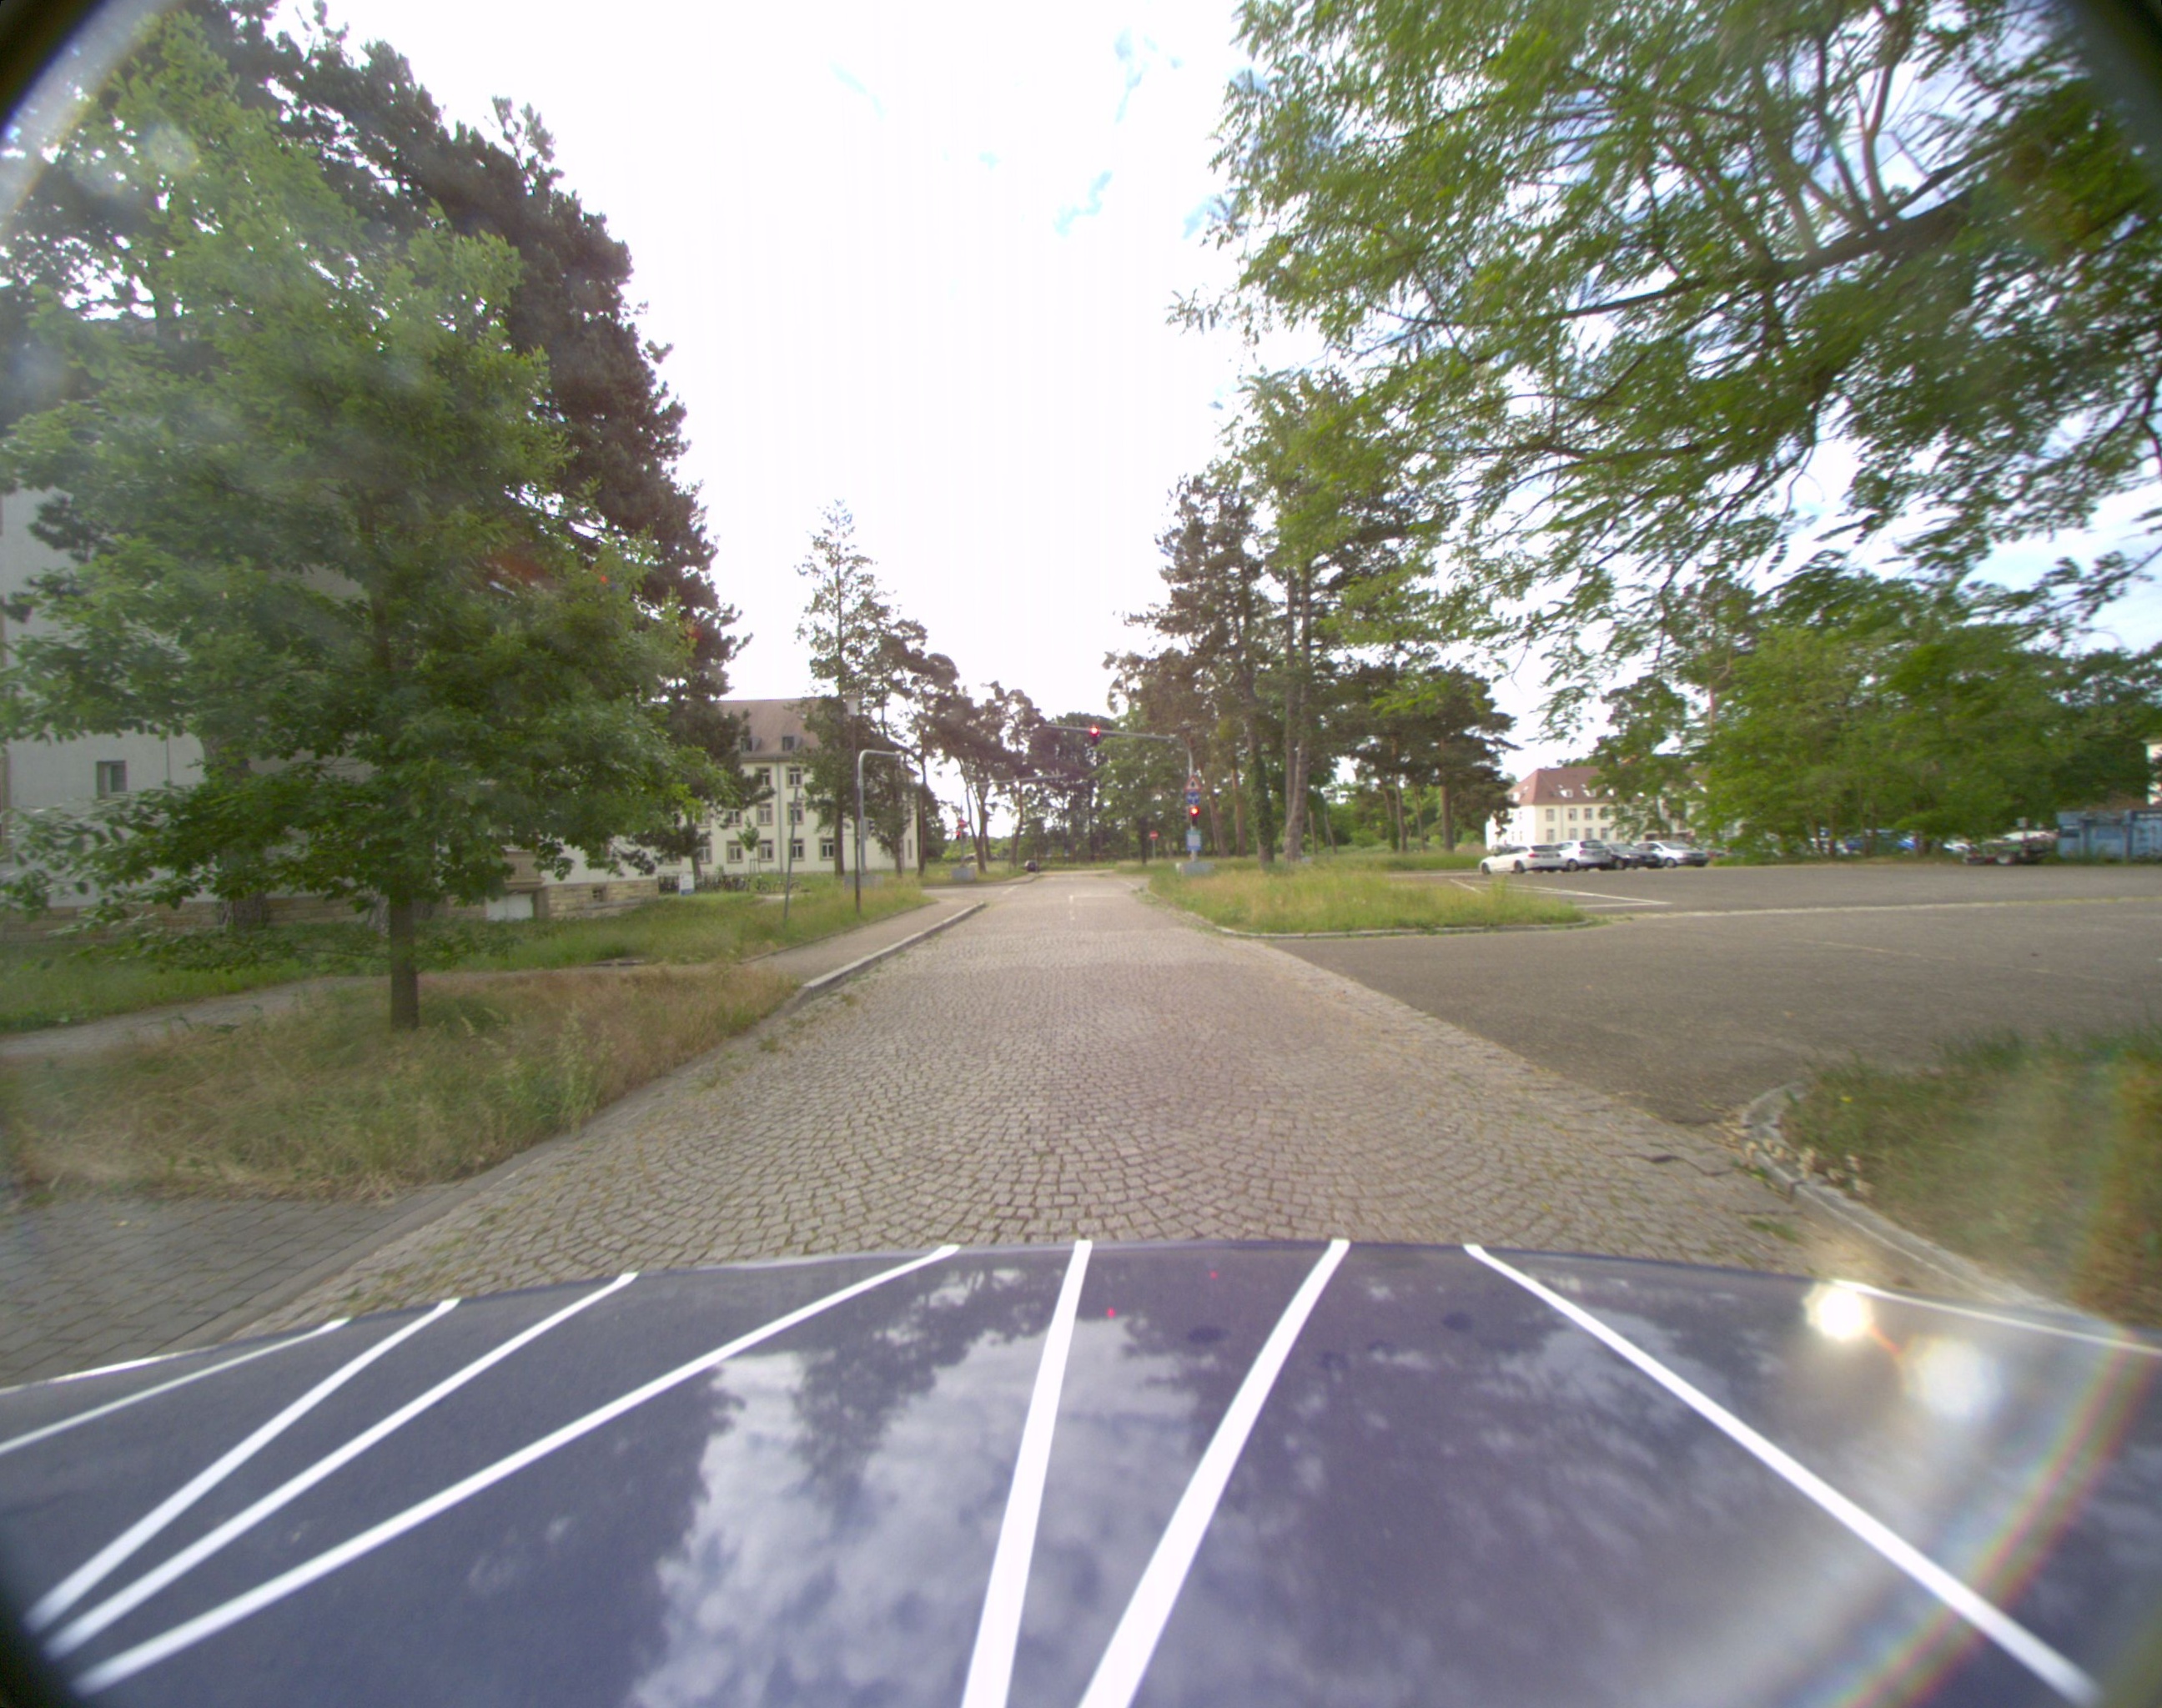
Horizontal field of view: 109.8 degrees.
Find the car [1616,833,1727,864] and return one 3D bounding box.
[{"bbox_3d":[29.865,-0.254,38.650,1.999,1.441,4.451,-2,0,-4],"label":"car"}]

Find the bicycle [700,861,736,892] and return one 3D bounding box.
[{"bbox_3d":[-21.437,1.297,44.906,0.905,1.722,2.199,-2,0,2],"label":"bicycle"}]

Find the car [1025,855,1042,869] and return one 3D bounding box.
[{"bbox_3d":[-6.381,1.042,100.887,2.000,1.777,3.997,-2,0,-6],"label":"car"}]

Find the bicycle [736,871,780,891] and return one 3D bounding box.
[{"bbox_3d":[-18.512,1.545,43.520,2.165,1.051,0.717,-2,1,-4],"label":"bicycle"}]

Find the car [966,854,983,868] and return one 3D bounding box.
[{"bbox_3d":[-13.986,0.930,99.757,2.000,1.777,3.997,-2,0,-6],"label":"car"}]

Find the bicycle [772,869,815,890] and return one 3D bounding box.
[{"bbox_3d":[-16.430,1.447,43.482,2.165,1.088,0.717,-2,1,-4],"label":"bicycle"}]

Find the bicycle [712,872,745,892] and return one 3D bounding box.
[{"bbox_3d":[-20.662,1.609,44.582,0.800,1.051,2.199,-2,0,2],"label":"bicycle"}]

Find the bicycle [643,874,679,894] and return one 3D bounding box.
[{"bbox_3d":[-24.699,1.763,44.760,0.800,1.051,2.166,-2,0,2],"label":"bicycle"}]

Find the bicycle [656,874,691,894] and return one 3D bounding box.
[{"bbox_3d":[-23.946,1.736,44.673,0.800,1.051,2.166,-2,0,2],"label":"bicycle"}]

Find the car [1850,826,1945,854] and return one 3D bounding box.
[{"bbox_3d":[52.011,-0.868,48.499,1.749,1.674,3.803,-2,0,-5],"label":"car"}]

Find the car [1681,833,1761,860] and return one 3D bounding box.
[{"bbox_3d":[41.326,-0.469,49.199,1.749,1.674,3.803,-2,0,-5],"label":"car"}]

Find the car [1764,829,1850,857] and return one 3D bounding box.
[{"bbox_3d":[46.890,-0.682,49.167,1.749,1.674,3.803,-2,0,-5],"label":"car"}]

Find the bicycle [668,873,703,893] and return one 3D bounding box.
[{"bbox_3d":[-23.140,1.708,44.476,0.800,1.051,2.166,-2,0,2],"label":"bicycle"}]

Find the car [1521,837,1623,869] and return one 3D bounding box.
[{"bbox_3d":[24.409,-0.035,37.972,1.999,1.441,4.451,-2,0,-4],"label":"car"}]

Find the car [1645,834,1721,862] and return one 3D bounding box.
[{"bbox_3d":[38.621,-0.361,48.872,1.611,1.674,3.803,-2,0,-5],"label":"car"}]

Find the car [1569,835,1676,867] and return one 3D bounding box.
[{"bbox_3d":[26.989,-0.136,38.095,1.999,1.441,4.451,-2,0,-4],"label":"car"}]

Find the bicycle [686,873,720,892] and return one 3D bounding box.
[{"bbox_3d":[-22.273,1.667,44.812,0.800,1.051,2.199,-2,0,2],"label":"bicycle"}]

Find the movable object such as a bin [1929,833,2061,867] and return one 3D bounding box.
[{"bbox_3d":[30.995,-0.138,25.856,1.057,1.064,2.719,-2,0,-9],"label":"movable object such as a bin"}]

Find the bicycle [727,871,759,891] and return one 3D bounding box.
[{"bbox_3d":[-19.813,1.579,44.582,0.800,1.051,2.166,-2,0,2],"label":"bicycle"}]

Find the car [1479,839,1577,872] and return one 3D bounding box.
[{"bbox_3d":[21.908,0.068,37.469,1.999,1.441,4.451,-2,0,-4],"label":"car"}]
